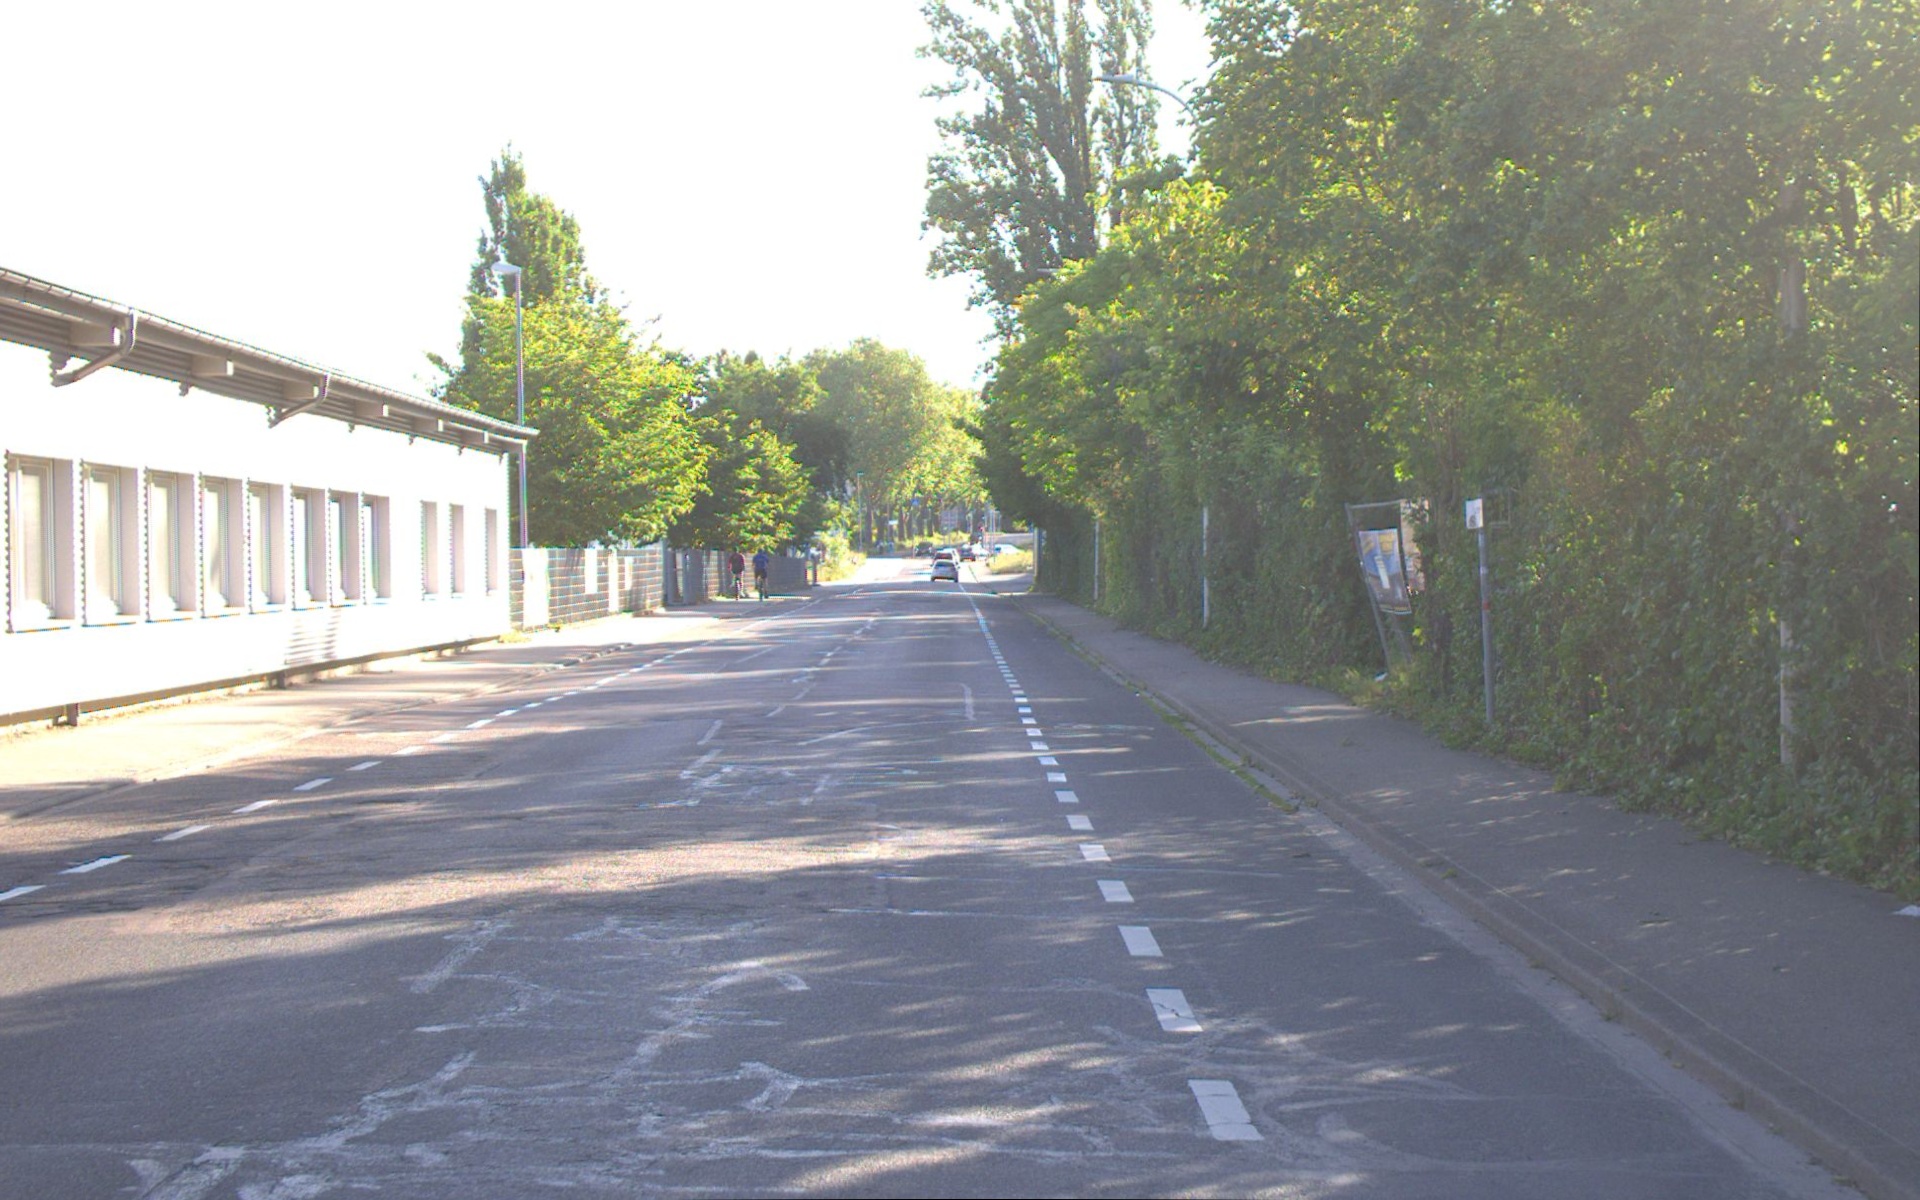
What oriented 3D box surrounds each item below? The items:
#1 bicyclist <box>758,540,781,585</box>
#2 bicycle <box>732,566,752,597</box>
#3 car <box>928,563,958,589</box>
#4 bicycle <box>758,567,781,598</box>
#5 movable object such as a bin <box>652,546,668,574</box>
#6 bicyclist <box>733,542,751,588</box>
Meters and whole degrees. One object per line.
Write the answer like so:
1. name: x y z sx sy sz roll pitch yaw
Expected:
1. bicyclist: -6.479 -1.280 116.959 0.689 1.526 0.722 1 1 0
2. bicycle: -7.443 -0.636 117.388 0.563 1.030 1.351 1 1 0
3. car: -1.125 -1.593 227.009 1.942 1.645 4.310 1 1 0
4. bicycle: -6.487 -0.607 116.992 0.689 1.030 1.351 1 1 0
5. movable object such as a bin: -11.562 -1.543 132.363 0.463 1.072 1.570 -1 1 0
6. bicyclist: -7.428 -1.191 117.298 0.560 1.528 0.689 1 1 0
